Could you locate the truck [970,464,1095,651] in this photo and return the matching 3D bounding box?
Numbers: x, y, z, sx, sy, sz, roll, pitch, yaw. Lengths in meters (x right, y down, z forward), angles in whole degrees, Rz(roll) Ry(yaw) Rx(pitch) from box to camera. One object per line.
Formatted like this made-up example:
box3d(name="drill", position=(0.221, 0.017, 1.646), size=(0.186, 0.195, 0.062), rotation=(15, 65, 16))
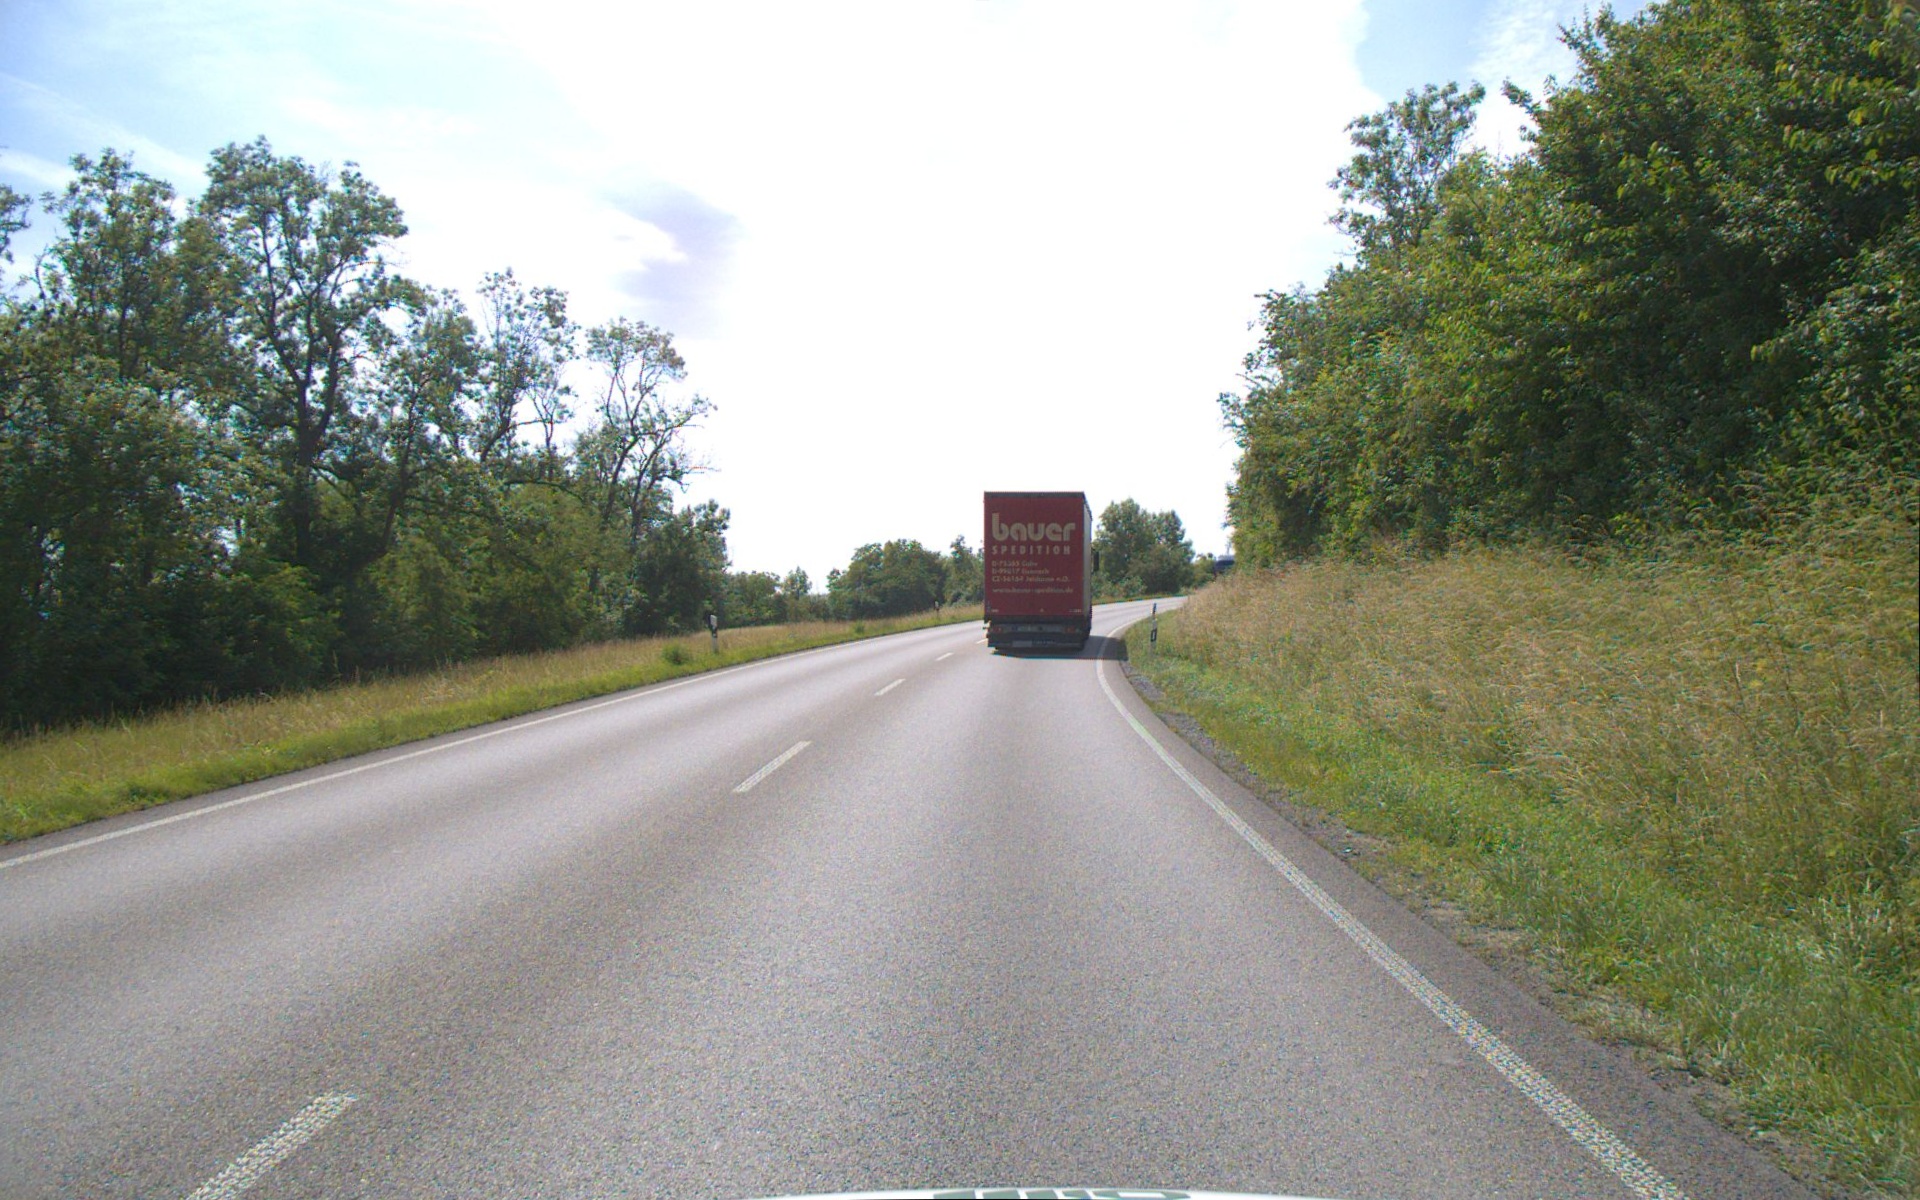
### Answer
box3d(name="truck", position=(2.119, -1.100, 46.647), size=(3.047, 4.584, 12.173), rotation=(0, 0, 3))
